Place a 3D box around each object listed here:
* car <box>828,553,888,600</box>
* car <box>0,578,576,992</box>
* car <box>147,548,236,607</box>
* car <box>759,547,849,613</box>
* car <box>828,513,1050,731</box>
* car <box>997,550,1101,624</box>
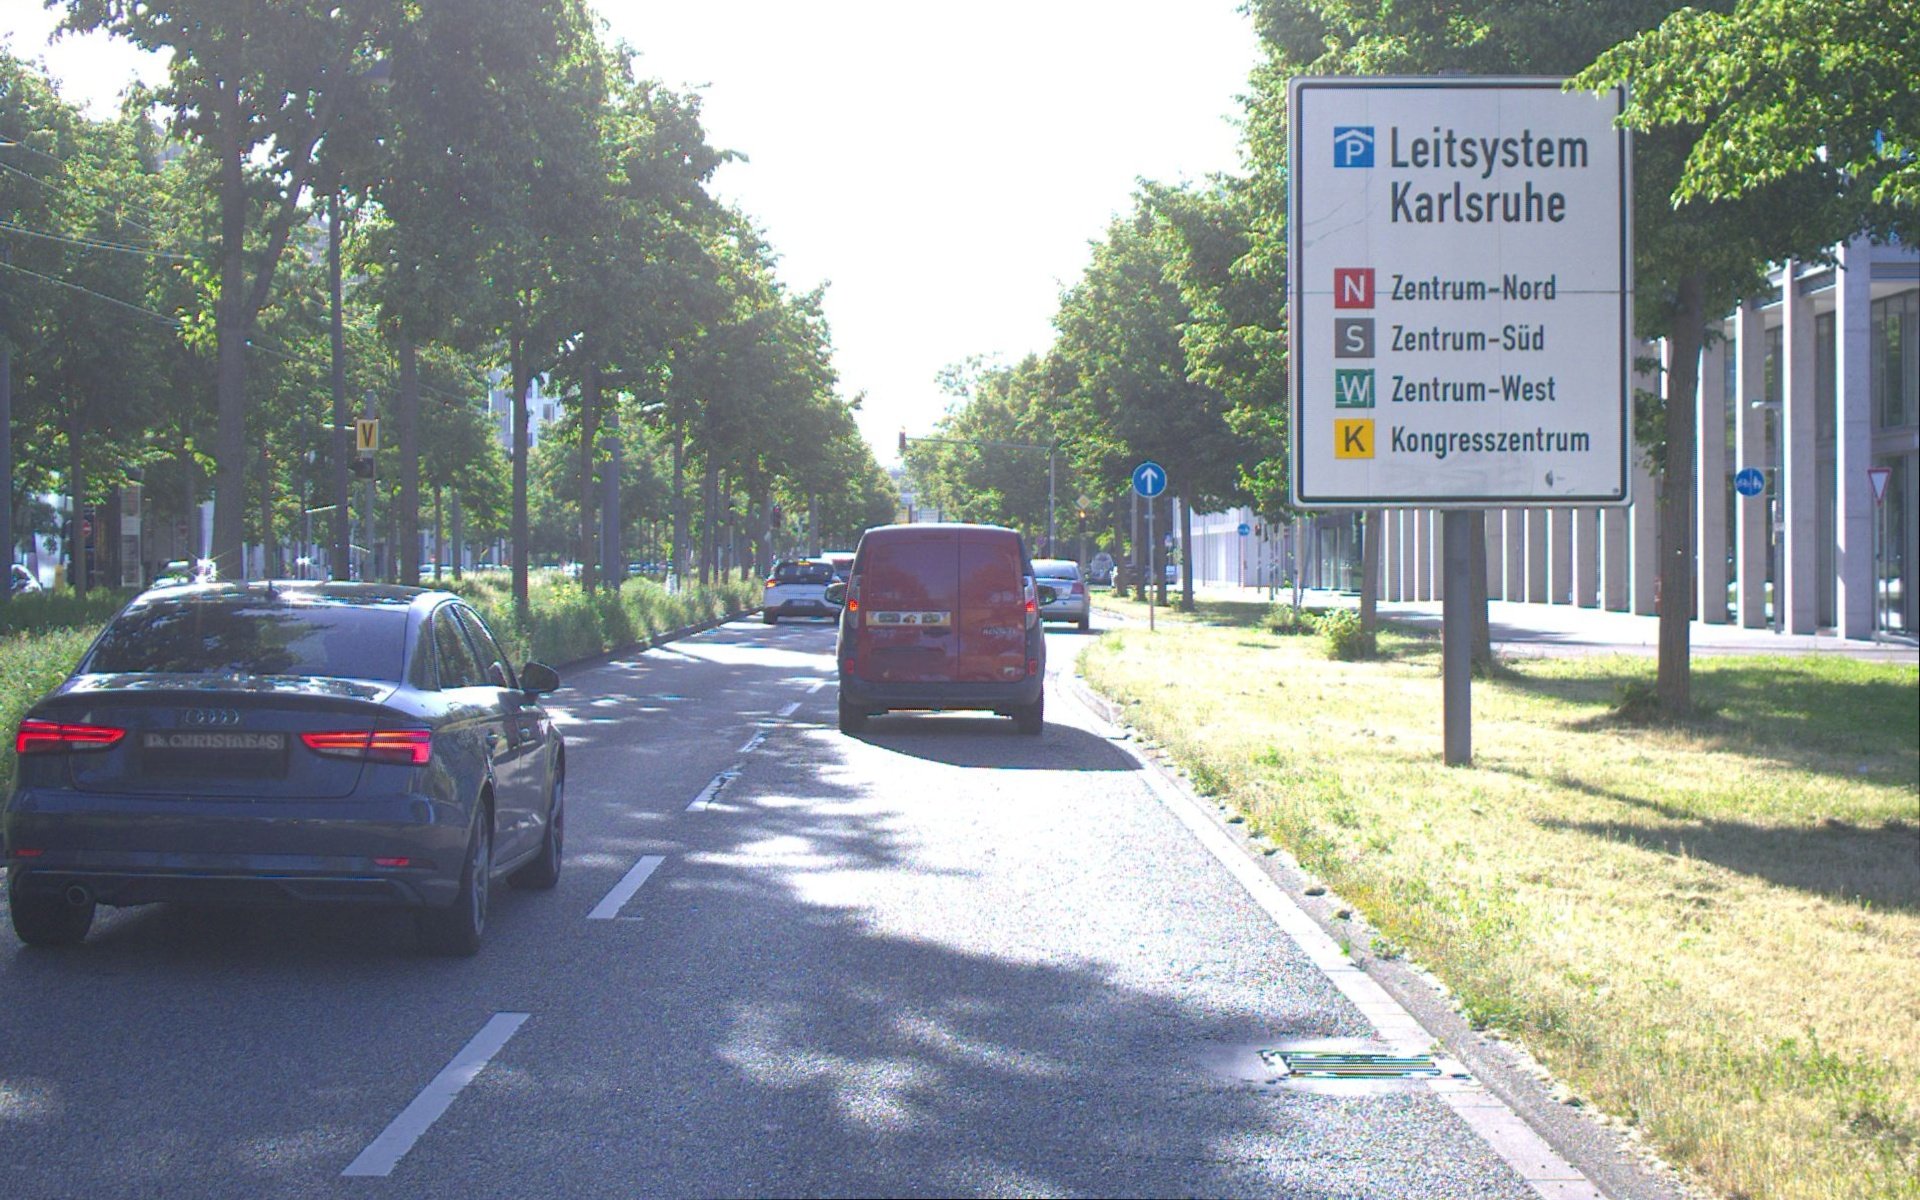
[{"bbox_3d":[-3.392,-0.788,115.049,1.843,1.529,3.940,0,1,1],"label":"car"},{"bbox_3d":[-2.662,0.629,14.010,1.721,1.361,4.146,2,1,0],"label":"car"},{"bbox_3d":[-23.639,-0.701,105.844,1.797,1.683,4.321,1,2,-1],"label":"car"},{"bbox_3d":[-3.461,-0.464,76.306,1.942,1.436,4.001,0,1,-2],"label":"car"},{"bbox_3d":[-0.216,0.151,30.500,1.797,1.771,4.000,1,1,-1],"label":"car"},{"bbox_3d":[1.866,-0.294,73.145,1.720,1.420,3.817,2,2,-6],"label":"car"}]
